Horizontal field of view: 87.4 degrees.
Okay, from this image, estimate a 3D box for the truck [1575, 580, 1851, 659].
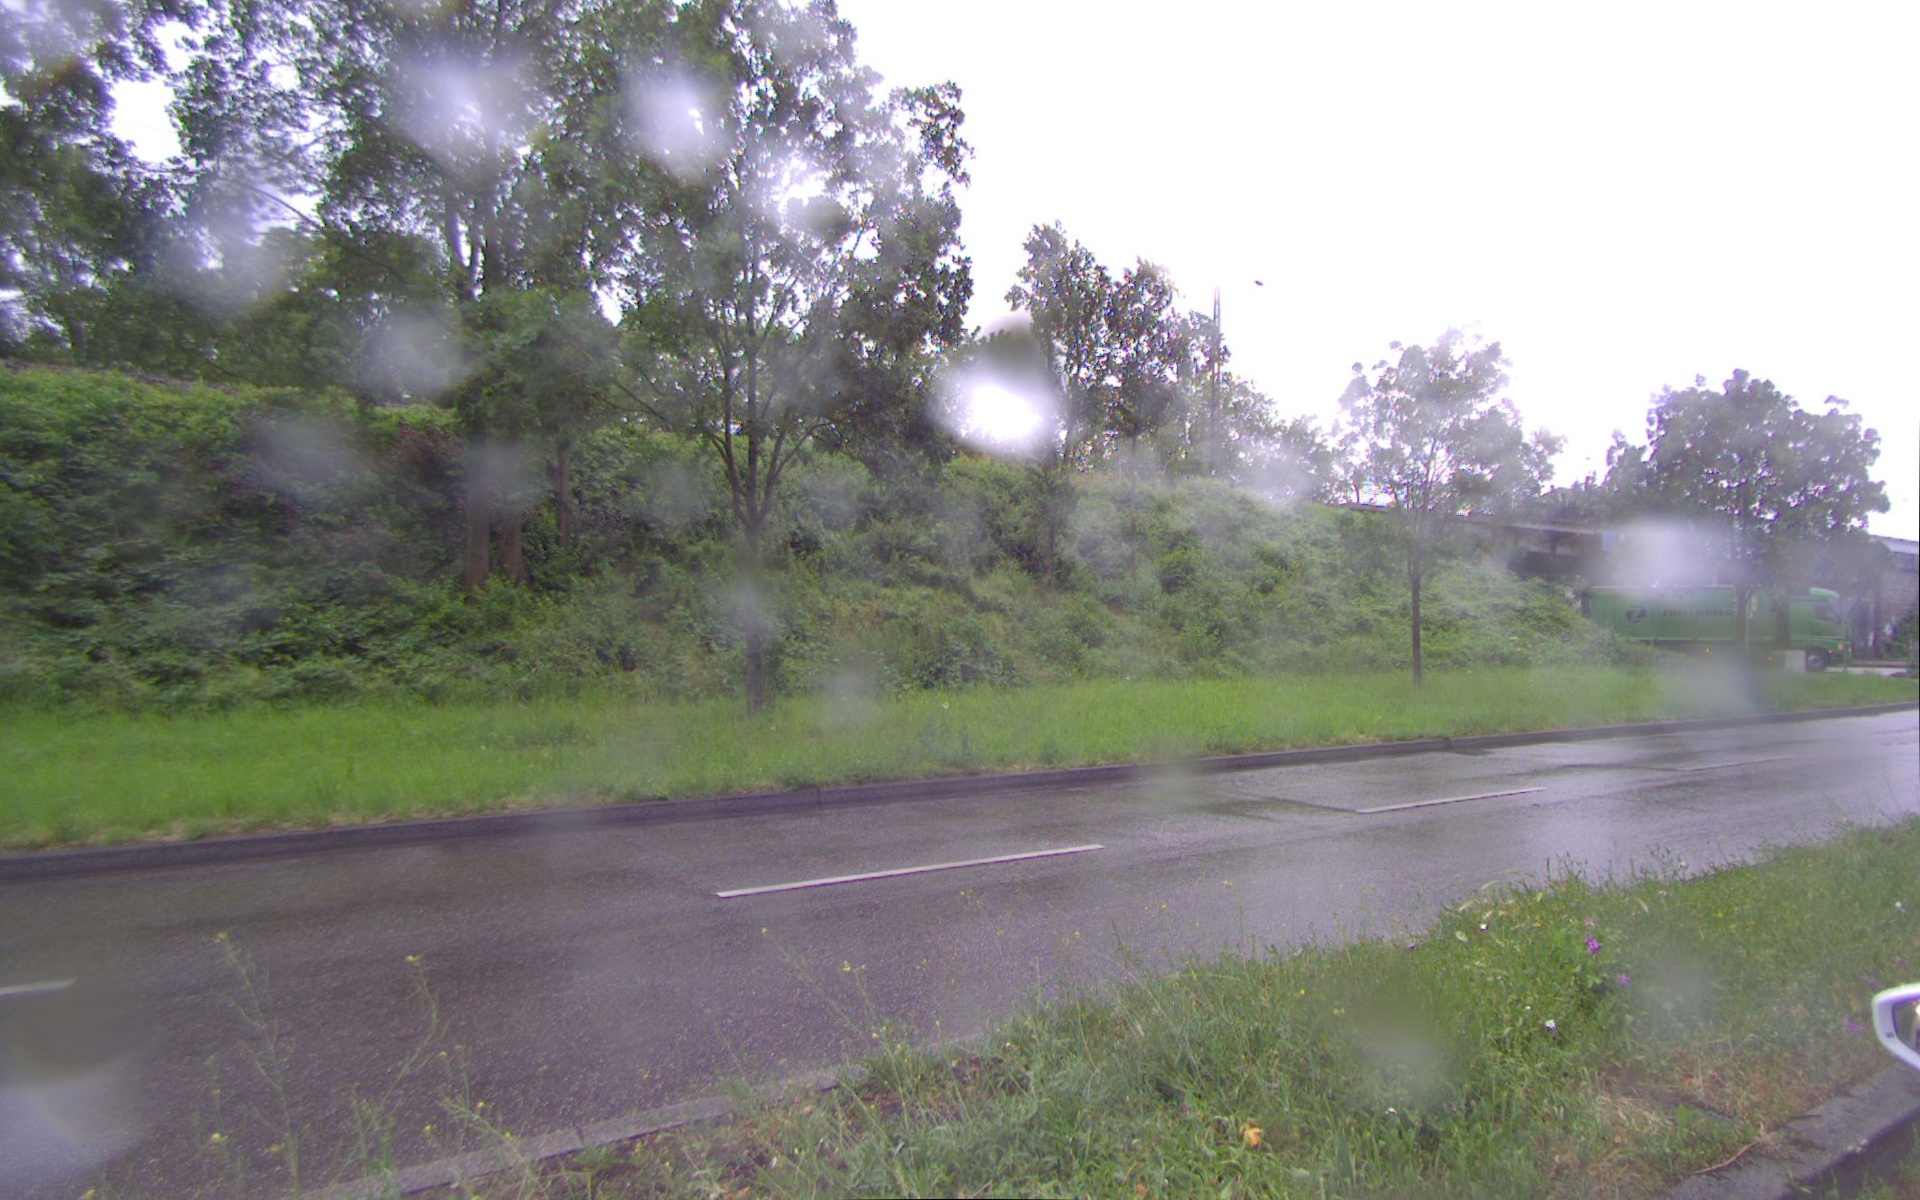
[{"bbox_3d":[34.295,0.836,46.298,9.872,3.416,2.346,0,-1,25],"label":"truck"}]
